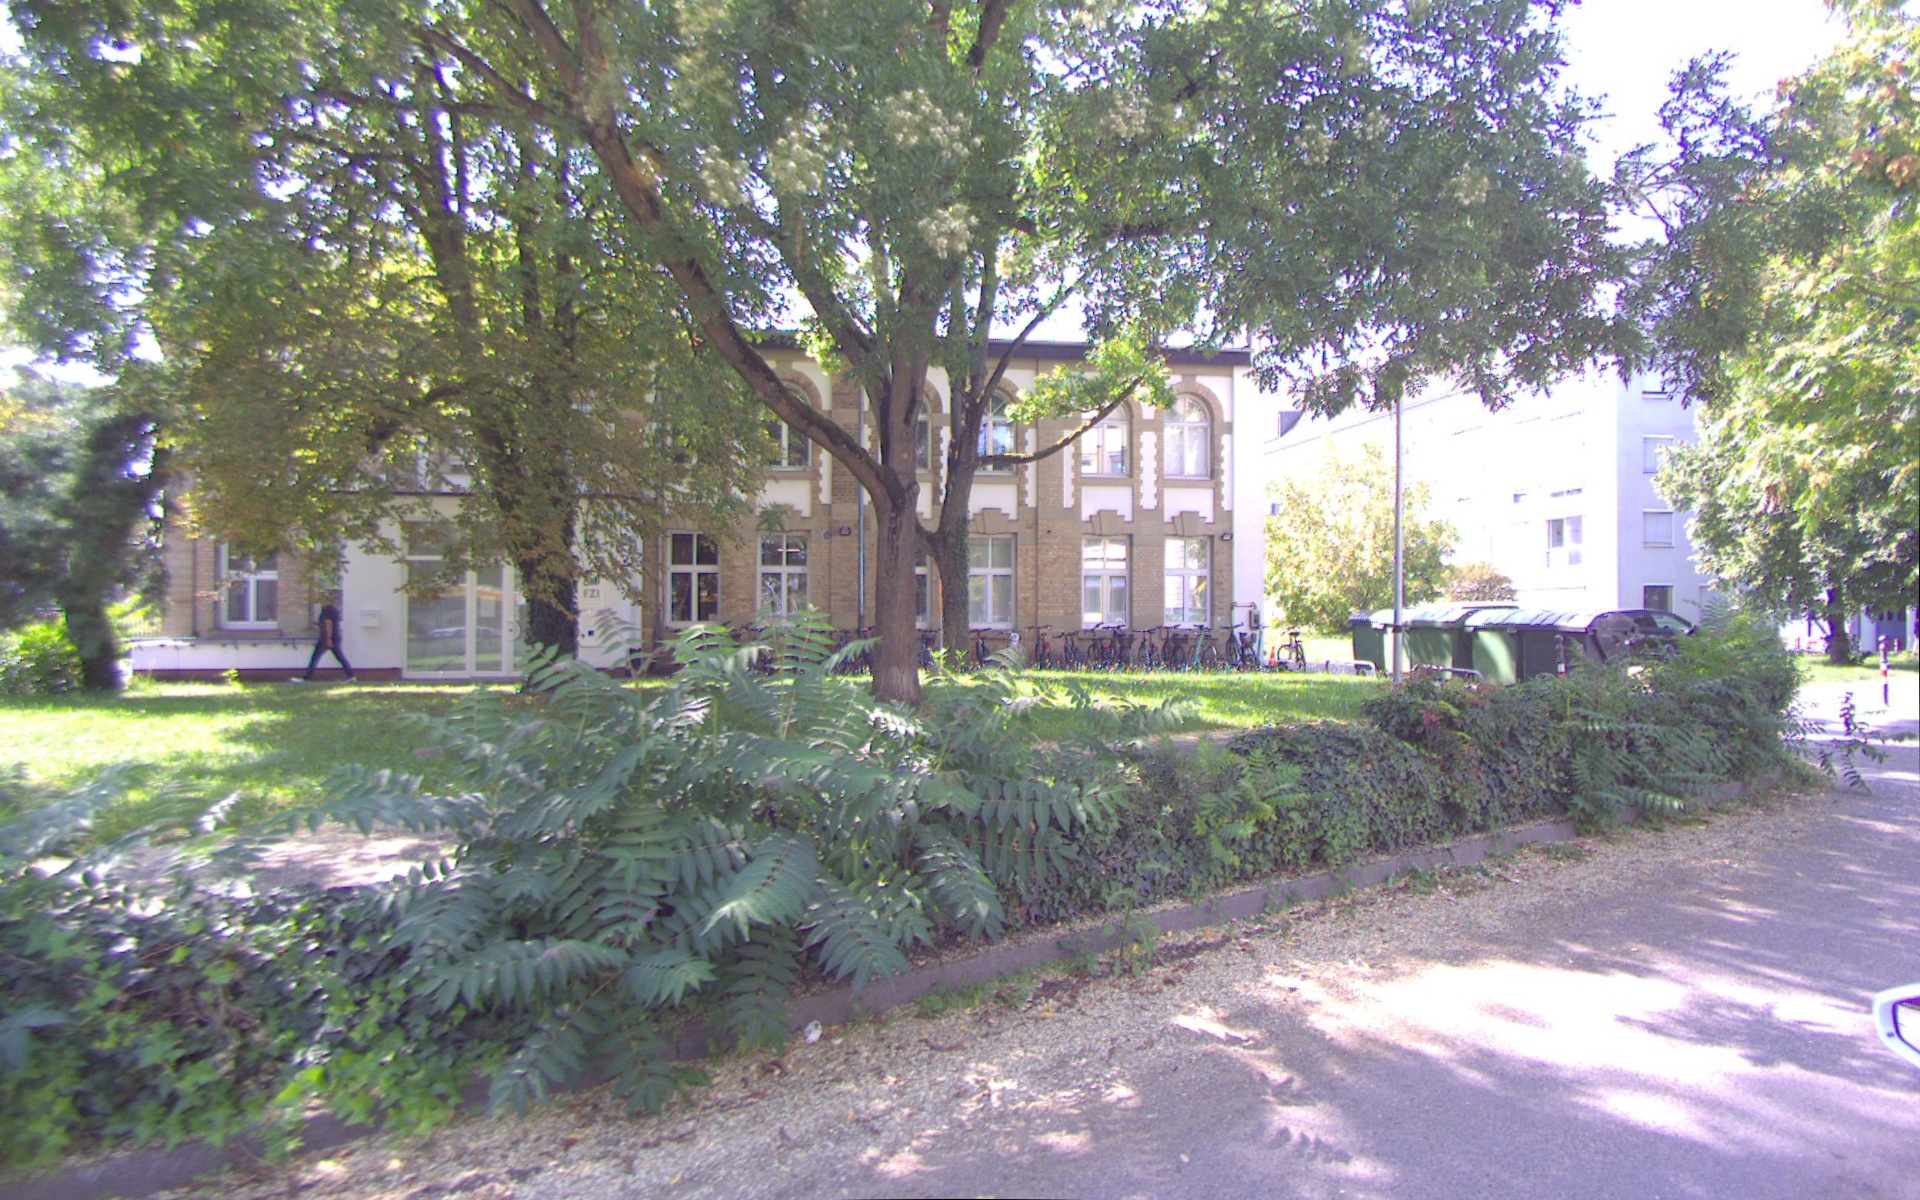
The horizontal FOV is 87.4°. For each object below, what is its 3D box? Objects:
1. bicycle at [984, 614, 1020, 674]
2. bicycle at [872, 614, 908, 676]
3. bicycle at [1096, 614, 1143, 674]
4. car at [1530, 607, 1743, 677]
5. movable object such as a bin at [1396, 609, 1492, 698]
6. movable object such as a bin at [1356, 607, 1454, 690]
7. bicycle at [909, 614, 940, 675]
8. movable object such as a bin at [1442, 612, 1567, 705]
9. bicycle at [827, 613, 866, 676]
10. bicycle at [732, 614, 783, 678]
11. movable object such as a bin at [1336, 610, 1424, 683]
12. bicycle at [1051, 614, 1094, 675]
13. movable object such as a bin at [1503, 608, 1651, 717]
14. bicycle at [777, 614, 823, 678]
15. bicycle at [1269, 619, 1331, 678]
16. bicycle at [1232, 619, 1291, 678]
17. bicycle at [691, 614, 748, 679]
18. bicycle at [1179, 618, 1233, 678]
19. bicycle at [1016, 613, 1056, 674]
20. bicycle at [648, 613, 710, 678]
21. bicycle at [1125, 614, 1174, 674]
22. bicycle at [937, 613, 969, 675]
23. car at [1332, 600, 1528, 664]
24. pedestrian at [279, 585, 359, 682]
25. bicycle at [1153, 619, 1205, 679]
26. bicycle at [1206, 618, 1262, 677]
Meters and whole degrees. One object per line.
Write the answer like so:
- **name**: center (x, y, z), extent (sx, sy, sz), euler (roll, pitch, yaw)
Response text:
- **bicycle**: center (0.947, 0.991, 22.991), extent (0.597, 1.320, 2.173), euler (0, -2, -4)
- **bicycle**: center (-1.567, 0.991, 22.503), extent (0.757, 1.320, 2.272), euler (0, -2, -4)
- **bicycle**: center (3.644, 0.999, 23.084), extent (0.597, 1.320, 2.173), euler (0, -2, -4)
- **car**: center (15.601, 0.959, 23.290), extent (3.836, 1.548, 1.707), euler (0, -1, -2)
- **movable object such as a bin**: center (8.494, 0.909, 17.671), extent (1.082, 1.501, 1.098), euler (0, 0, -13)
- **movable object such as a bin**: center (8.446, 0.905, 19.102), extent (1.228, 1.515, 1.203), euler (0, 0, -13)
- **bicycle**: center (-0.813, 0.988, 22.652), extent (0.615, 1.320, 2.272), euler (0, -2, -4)
- **movable object such as a bin**: center (8.911, 0.923, 16.499), extent (1.228, 1.451, 1.328), euler (1, 0, -14)
- **bicycle**: center (-2.507, 0.984, 22.386), extent (0.757, 1.320, 2.525), euler (0, -2, -4)
- **bicycle**: center (-4.350, 0.978, 21.773), extent (0.757, 1.320, 2.525), euler (0, -2, -4)
- **movable object such as a bin**: center (8.709, 0.938, 20.875), extent (1.228, 1.463, 1.203), euler (0, 0, -13)
- **bicycle**: center (2.560, 1.003, 23.013), extent (0.597, 1.320, 2.173), euler (0, -2, -4)
- **movable object such as a bin**: center (9.131, 0.884, 14.921), extent (1.316, 1.513, 1.366), euler (1, 0, -22)
- **bicycle**: center (-3.477, 0.982, 21.981), extent (0.757, 1.320, 2.525), euler (0, -2, -4)
- **bicycle**: center (8.013, 1.130, 23.790), extent (0.597, 1.320, 2.173), euler (0, -2, -4)
- **bicycle**: center (7.051, 1.122, 23.582), extent (0.597, 1.320, 2.173), euler (0, -2, -4)
- **bicycle**: center (-5.123, 0.975, 21.541), extent (0.757, 1.320, 2.525), euler (0, -2, -4)
- **bicycle**: center (5.712, 1.098, 23.435), extent (0.597, 1.320, 2.173), euler (0, -2, -4)
- **bicycle**: center (1.715, 0.984, 22.886), extent (0.597, 1.320, 2.173), euler (0, -2, -4)
- **bicycle**: center (-6.002, 0.965, 21.598), extent (0.757, 1.320, 2.525), euler (0, -2, -4)
- **bicycle**: center (4.375, 1.005, 23.305), extent (0.597, 1.320, 2.173), euler (0, -2, -4)
- **bicycle**: center (-0.170, 0.985, 22.752), extent (0.597, 1.320, 2.173), euler (0, -2, -4)
- **car**: center (14.569, 0.978, 31.364), extent (4.988, 1.906, 2.501), euler (0, -1, -5)
- **pedestrian**: center (-12.462, 0.648, 19.562), extent (1.109, 1.852, 0.735), euler (0, -1, -8)
- **bicycle**: center (5.051, 1.107, 23.264), extent (0.597, 1.320, 2.173), euler (0, -2, -4)
- **bicycle**: center (6.383, 1.094, 23.517), extent (0.597, 1.320, 2.173), euler (0, -2, -4)
